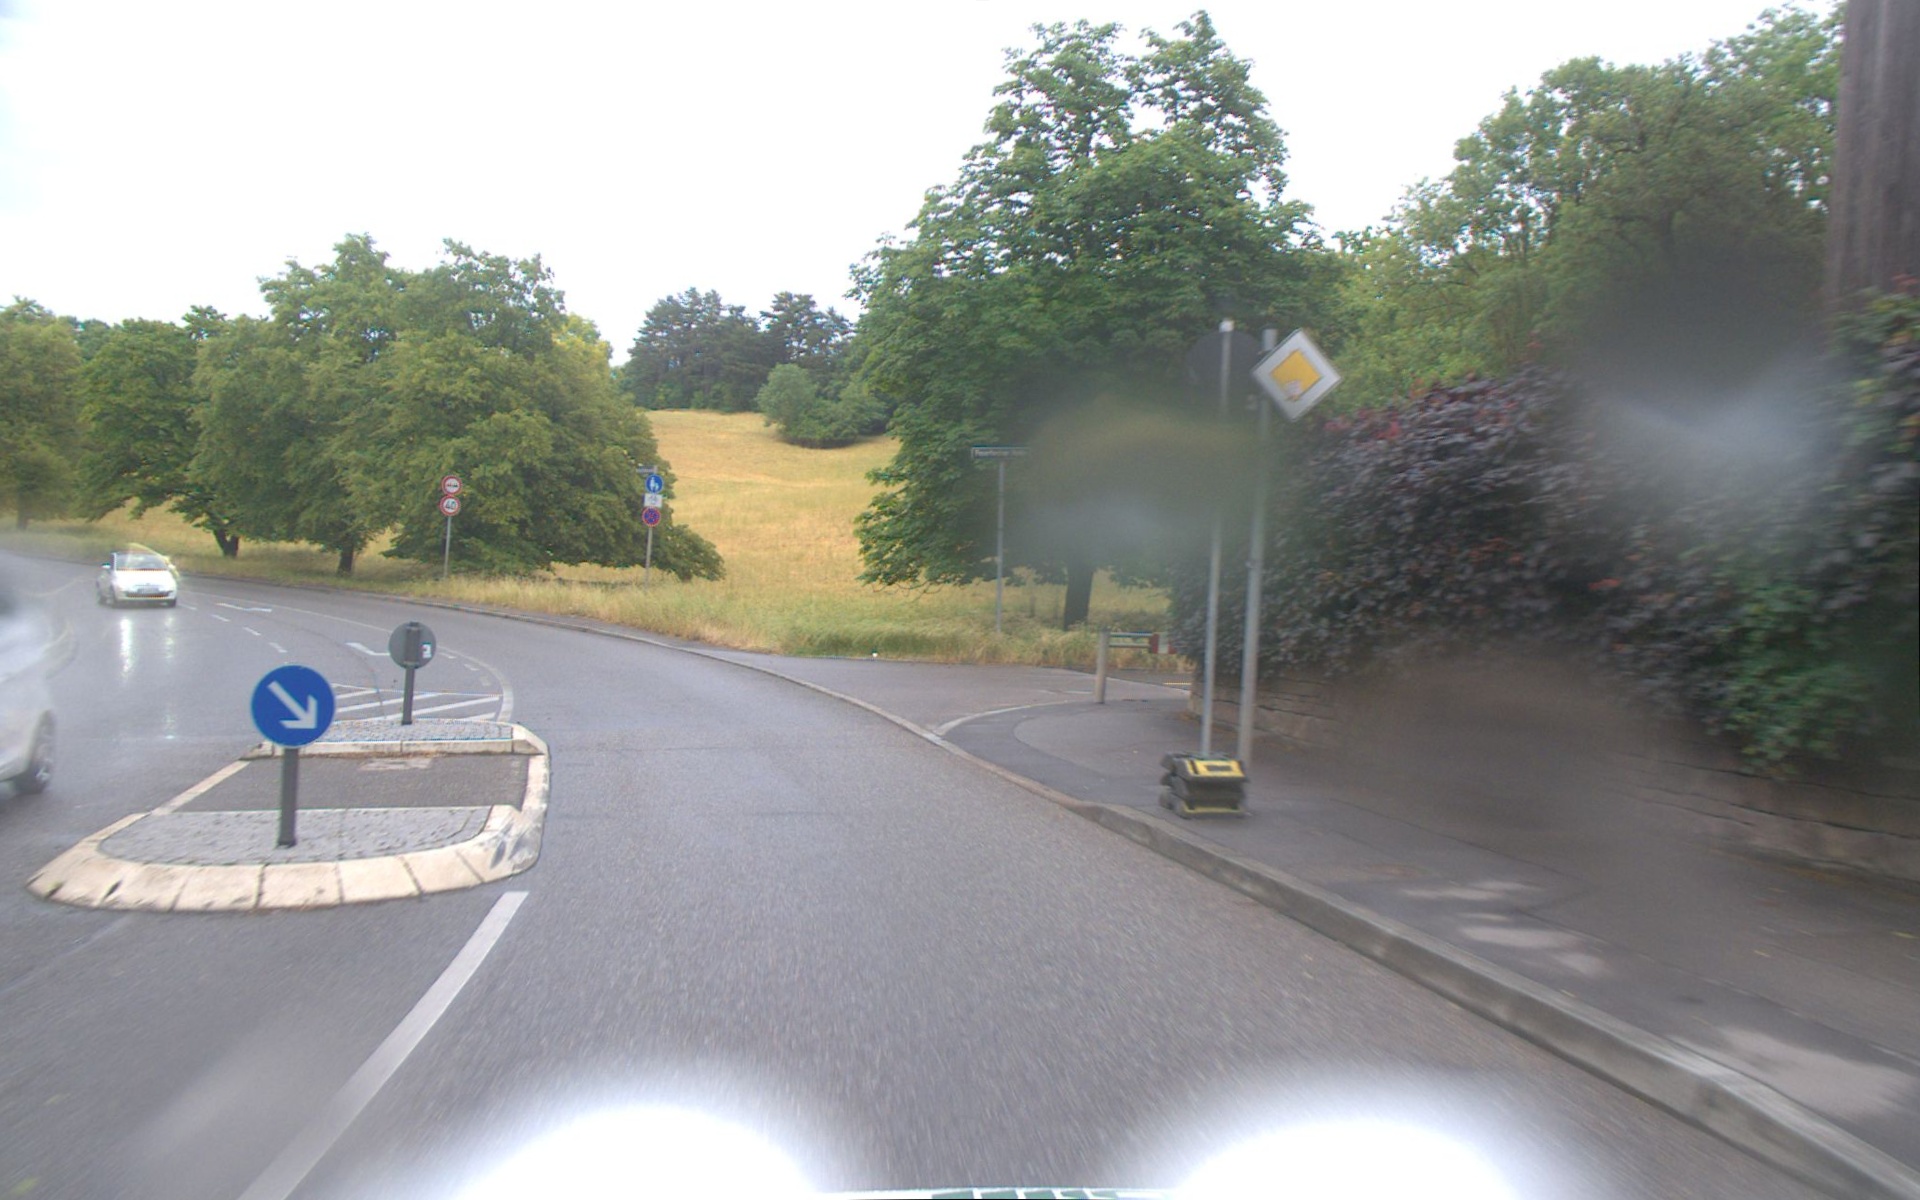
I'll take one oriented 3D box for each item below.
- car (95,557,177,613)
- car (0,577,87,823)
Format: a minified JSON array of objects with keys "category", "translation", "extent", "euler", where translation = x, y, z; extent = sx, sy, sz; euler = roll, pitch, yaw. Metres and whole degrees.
[{"category":"car","translation":[-23.190,-0.427,46.505],"extent":[1.553,1.503,3.622],"euler":[0,0,-35]},{"category":"car","translation":[-6.773,0.622,10.227],"extent":[1.605,1.479,3.787],"euler":[2,1,-15]}]
